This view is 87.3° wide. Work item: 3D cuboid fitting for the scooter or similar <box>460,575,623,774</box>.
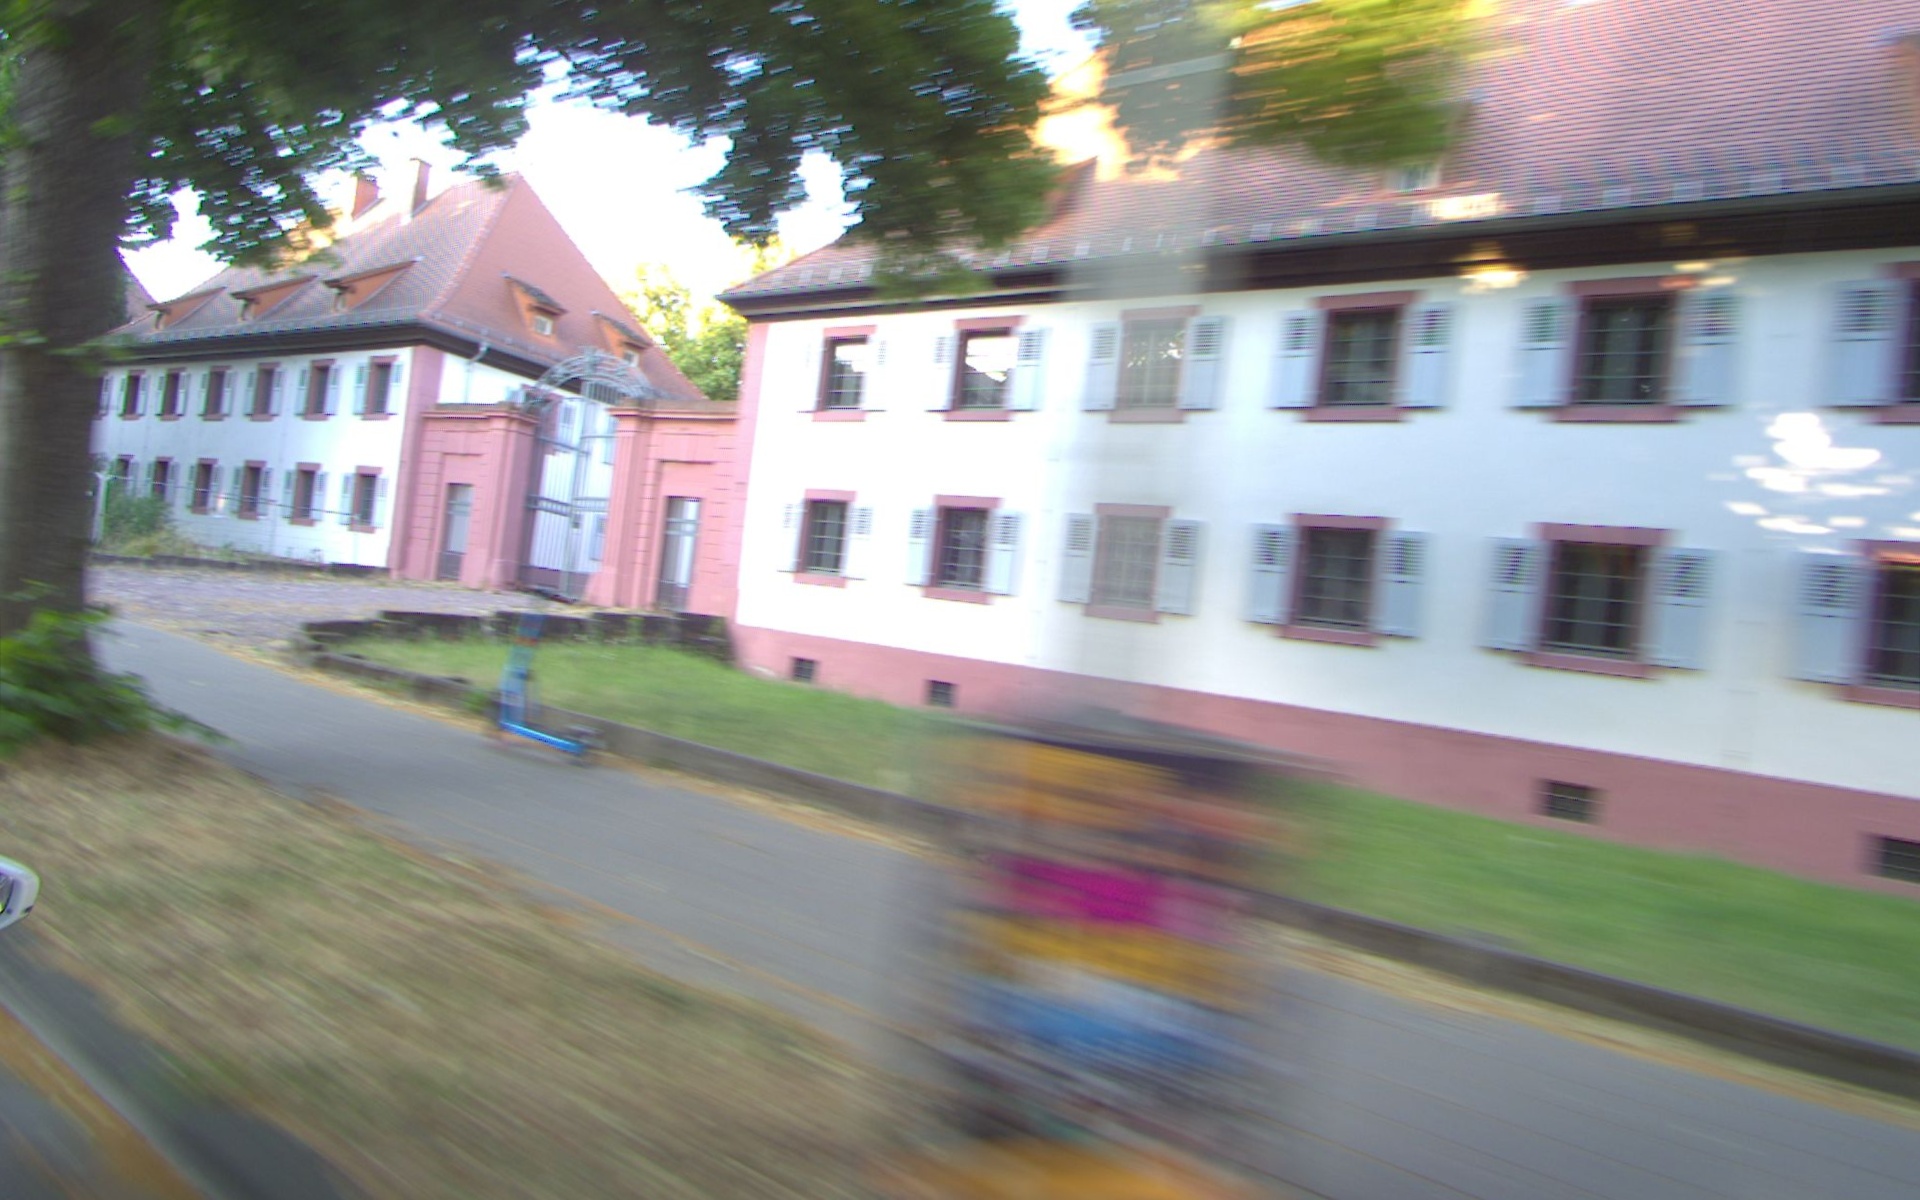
[{"bbox_3d":[-3.089,0.519,7.393,1.245,1.291,0.239,6,0,27],"label":"scooter or similar"}]
